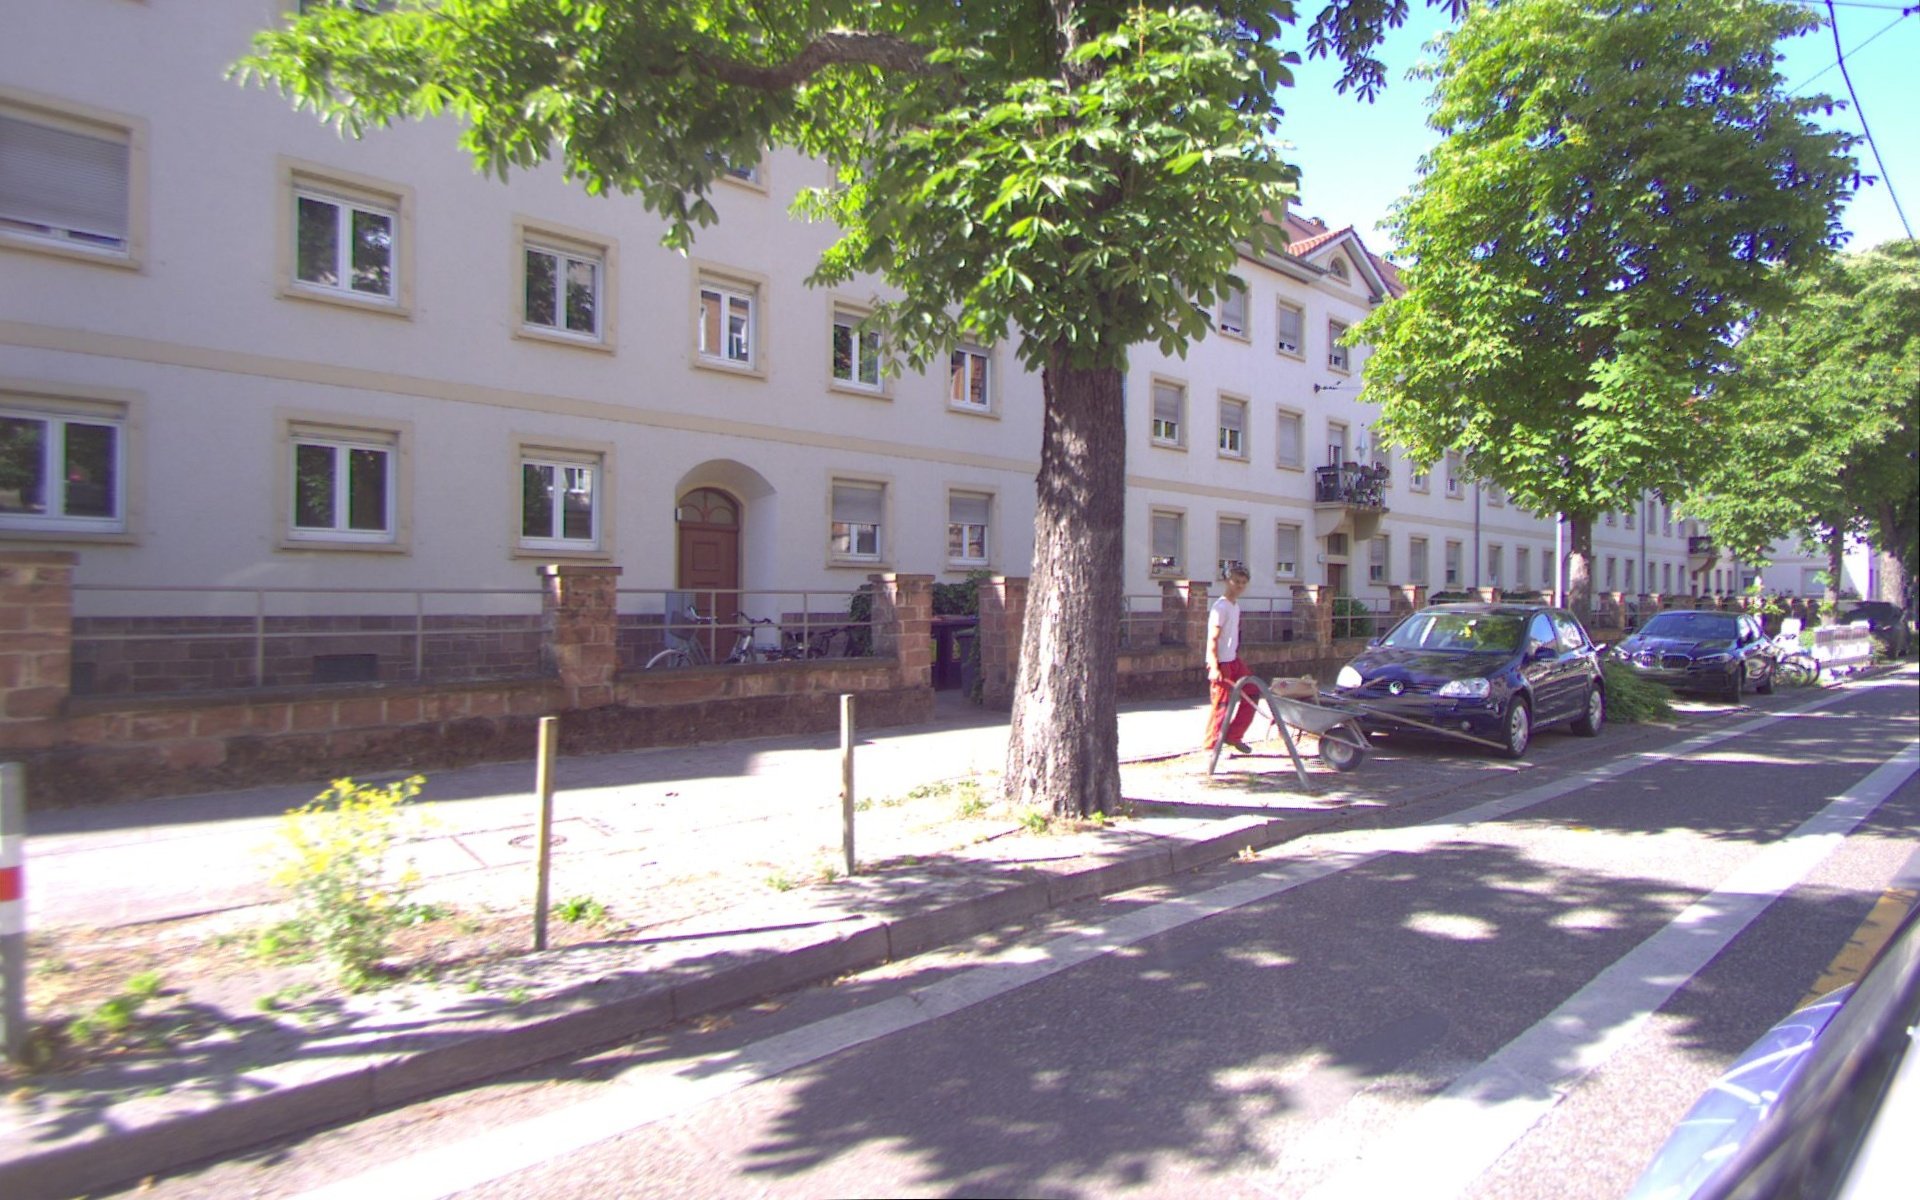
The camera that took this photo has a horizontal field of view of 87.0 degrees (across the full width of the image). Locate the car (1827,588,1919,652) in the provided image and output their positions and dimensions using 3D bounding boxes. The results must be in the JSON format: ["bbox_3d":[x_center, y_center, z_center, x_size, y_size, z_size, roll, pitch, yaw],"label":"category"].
[{"bbox_3d":[27.480,0.572,30.292,4.401,1.788,1.746,0,-1,-42],"label":"car"}]

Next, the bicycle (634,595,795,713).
[{"bbox_3d":[-2.754,0.570,11.486,1.711,1.236,0.544,0,1,-41],"label":"bicycle"}]

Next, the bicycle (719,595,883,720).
[{"bbox_3d":[-1.679,0.572,10.877,1.711,1.236,0.544,0,1,-41],"label":"bicycle"}]

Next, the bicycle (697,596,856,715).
[{"bbox_3d":[-2.027,0.582,11.351,1.711,1.236,0.544,0,1,-41],"label":"bicycle"}]

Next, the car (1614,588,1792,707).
[{"bbox_3d":[12.746,0.709,17.268,4.158,1.783,1.668,0,0,-42],"label":"car"}]

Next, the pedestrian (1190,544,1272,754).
[{"bbox_3d":[2.487,0.404,9.239,0.593,1.792,0.908,3,2,19],"label":"pedestrian"}]

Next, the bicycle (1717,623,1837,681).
[{"bbox_3d":[15.972,0.991,19.824,0.426,1.092,1.765,0,-1,-39],"label":"bicycle"}]

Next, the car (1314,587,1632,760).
[{"bbox_3d":[5.689,0.641,10.989,4.174,1.492,1.722,0,1,-43],"label":"car"}]

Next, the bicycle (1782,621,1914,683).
[{"bbox_3d":[16.328,0.934,18.645,0.426,1.092,1.765,0,-1,-39],"label":"bicycle"}]

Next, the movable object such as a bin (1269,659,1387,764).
[{"bbox_3d":[3.225,0.960,8.929,0.912,0.752,0.663,3,3,19],"label":"movable object such as a bin"}]
